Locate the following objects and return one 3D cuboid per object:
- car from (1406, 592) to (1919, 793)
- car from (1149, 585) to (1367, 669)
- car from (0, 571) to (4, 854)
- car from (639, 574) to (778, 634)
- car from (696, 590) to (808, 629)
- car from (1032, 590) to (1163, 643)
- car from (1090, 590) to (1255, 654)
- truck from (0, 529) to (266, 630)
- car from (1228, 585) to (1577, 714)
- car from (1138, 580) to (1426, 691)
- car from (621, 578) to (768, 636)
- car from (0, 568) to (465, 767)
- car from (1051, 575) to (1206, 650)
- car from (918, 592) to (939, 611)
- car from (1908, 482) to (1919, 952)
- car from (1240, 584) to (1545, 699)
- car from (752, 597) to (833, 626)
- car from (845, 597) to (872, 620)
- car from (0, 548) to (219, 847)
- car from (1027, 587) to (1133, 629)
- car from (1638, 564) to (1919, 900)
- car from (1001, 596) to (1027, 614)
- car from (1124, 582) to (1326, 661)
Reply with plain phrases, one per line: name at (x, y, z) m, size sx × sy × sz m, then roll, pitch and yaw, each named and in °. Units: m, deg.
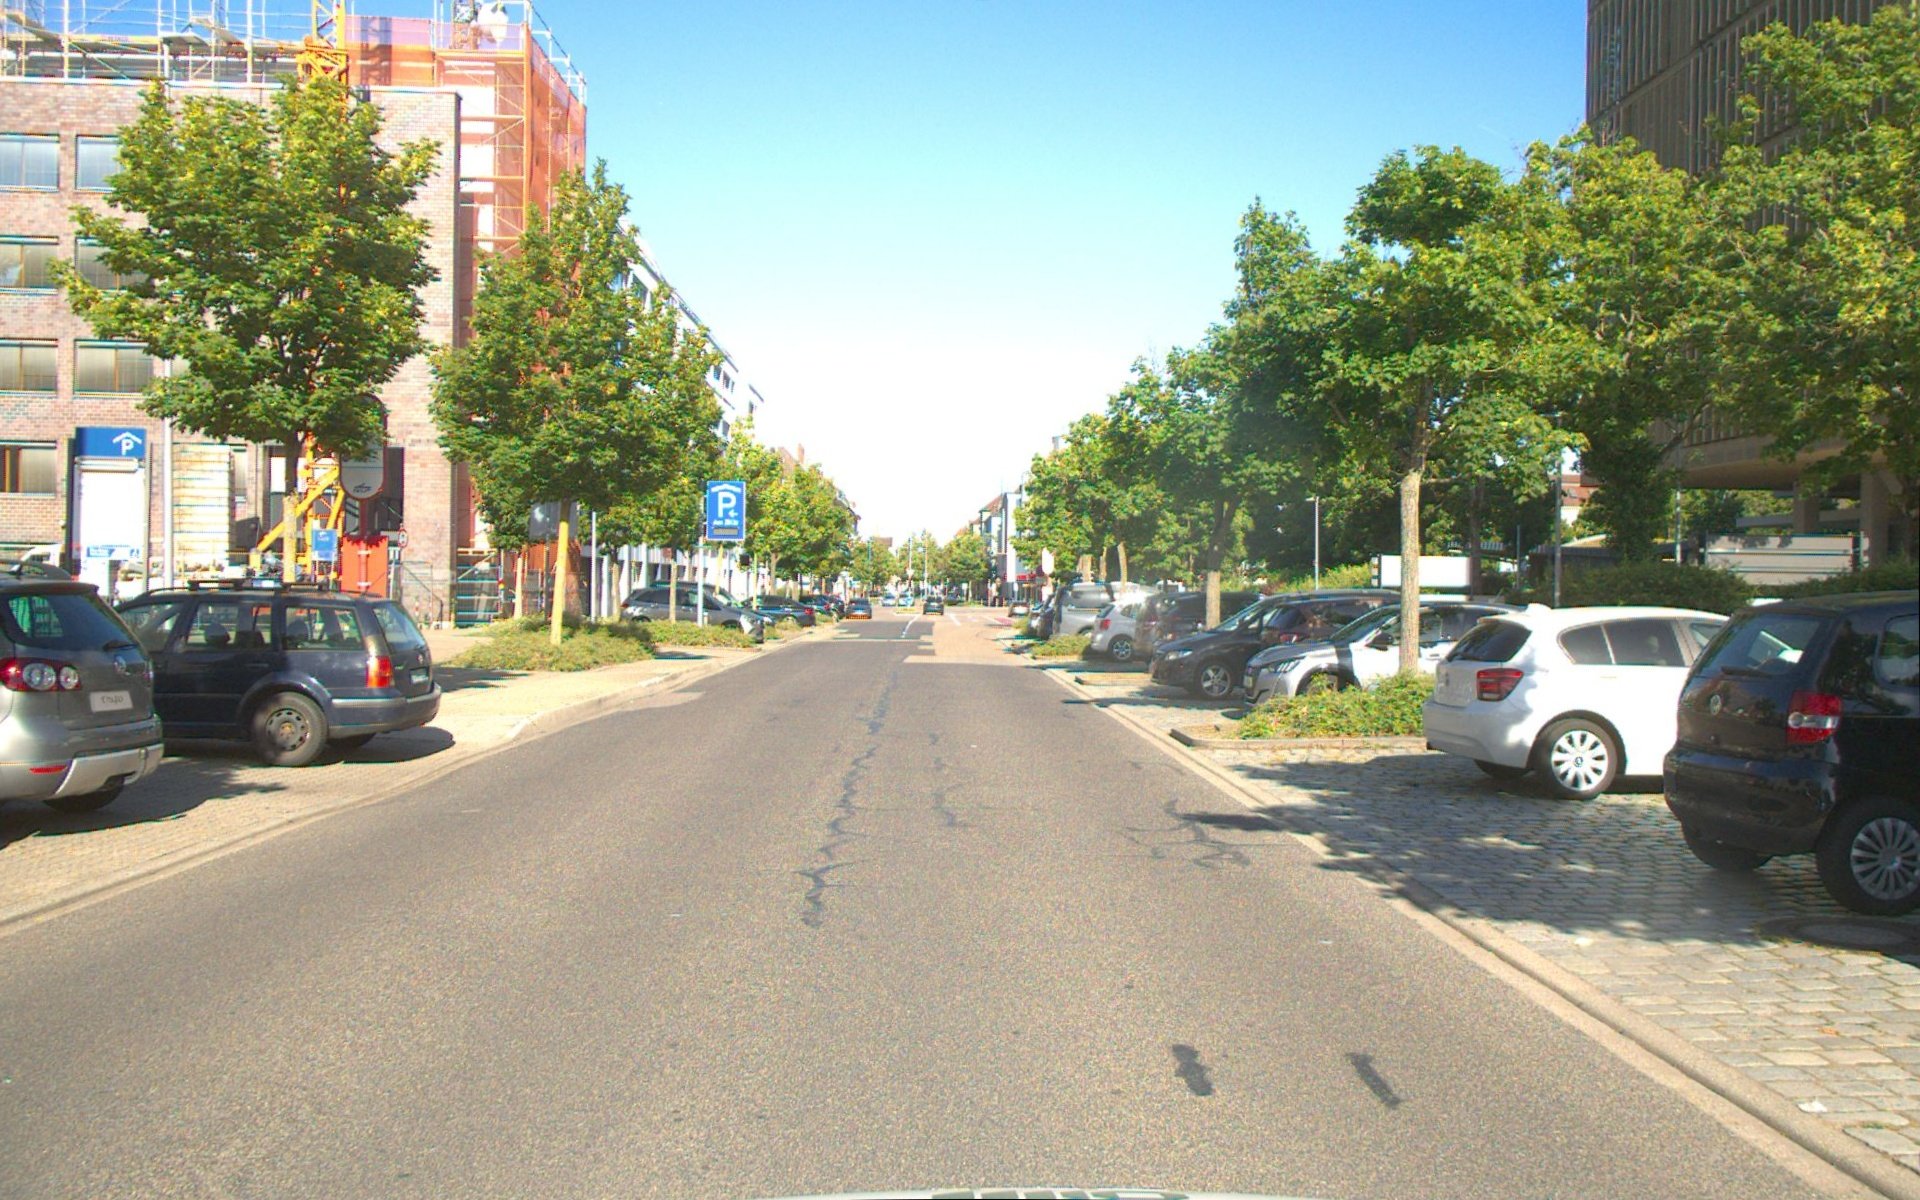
car at (5.803, 0.690, 13.262) m, size 3.978 × 1.450 × 1.742 m, roll -1°, pitch 0°, yaw 0°
car at (5.727, 0.512, 32.111) m, size 3.906 × 1.565 × 1.861 m, roll 0°, pitch -1°, yaw -1°
car at (-7.177, 0.600, 8.078) m, size 3.905 × 1.544 × 1.855 m, roll 0°, pitch 0°, yaw -1°
car at (-8.188, 0.110, 54.126) m, size 4.242 × 1.894 × 1.818 m, roll 0°, pitch 1°, yaw 0°
car at (-8.091, 0.362, 64.512) m, size 4.246 × 1.500 × 1.816 m, roll 0°, pitch 1°, yaw -5°
car at (4.072, 0.475, 49.325) m, size 3.831 × 1.500 × 1.796 m, roll 0°, pitch 1°, yaw 3°
car at (5.035, 0.521, 39.589) m, size 3.690 × 1.485 × 1.817 m, roll 0°, pitch 0°, yaw -2°
truck at (-22.413, -0.558, 44.263) m, size 6.717 × 2.591 × 2.280 m, roll 0°, pitch 1°, yaw 0°
car at (5.364, 0.579, 20.364) m, size 3.822 × 1.512 × 1.742 m, roll 0°, pitch 0°, yaw -2°
car at (4.876, 0.511, 25.403) m, size 4.061 × 1.607 × 1.740 m, roll 0°, pitch 0°, yaw -3°
car at (-7.907, 0.195, 49.529) m, size 4.176 × 1.694 × 1.599 m, roll 0°, pitch 1°, yaw -2°
car at (-6.771, 0.562, 14.916) m, size 4.049 × 1.518 × 1.868 m, roll 2°, pitch 1°, yaw -4°
car at (4.391, 0.309, 43.533) m, size 3.906 × 1.912 × 1.682 m, roll 0°, pitch 1°, yaw -1°
car at (-2.698, 0.130, 143.675) m, size 1.775 × 1.500 × 4.110 m, roll 0°, pitch 1°, yaw 0°
car at (6.075, 0.521, 6.105) m, size 4.036 × 1.961 × 1.978 m, roll 0°, pitch 1°, yaw -3°
car at (5.951, 0.552, 23.015) m, size 3.785 × 1.531 × 1.651 m, roll 0°, pitch 0°, yaw -4°
car at (-9.024, 0.611, 89.310) m, size 4.244 × 1.500 × 1.817 m, roll 0°, pitch 1°, yaw -2°
car at (-7.143, 0.576, 116.784) m, size 1.775 × 1.500 × 4.109 m, roll 0°, pitch 1°, yaw -2°
car at (-7.073, 0.486, 10.432) m, size 3.904 × 1.693 × 1.828 m, roll 2°, pitch 0°, yaw 2°
car at (4.402, 0.306, 60.826) m, size 3.831 × 1.500 × 1.758 m, roll 0°, pitch -1°, yaw 3°
car at (5.710, 0.610, 8.753) m, size 3.534 × 1.576 × 1.706 m, roll 0°, pitch 1°, yaw -3°
car at (4.831, 0.439, 147.870) m, size 1.950 × 1.500 × 4.108 m, roll 0°, pitch 1°, yaw -3°
car at (5.515, 0.444, 34.758) m, size 3.906 × 1.610 × 2.031 m, roll 0°, pitch 0°, yaw -1°
